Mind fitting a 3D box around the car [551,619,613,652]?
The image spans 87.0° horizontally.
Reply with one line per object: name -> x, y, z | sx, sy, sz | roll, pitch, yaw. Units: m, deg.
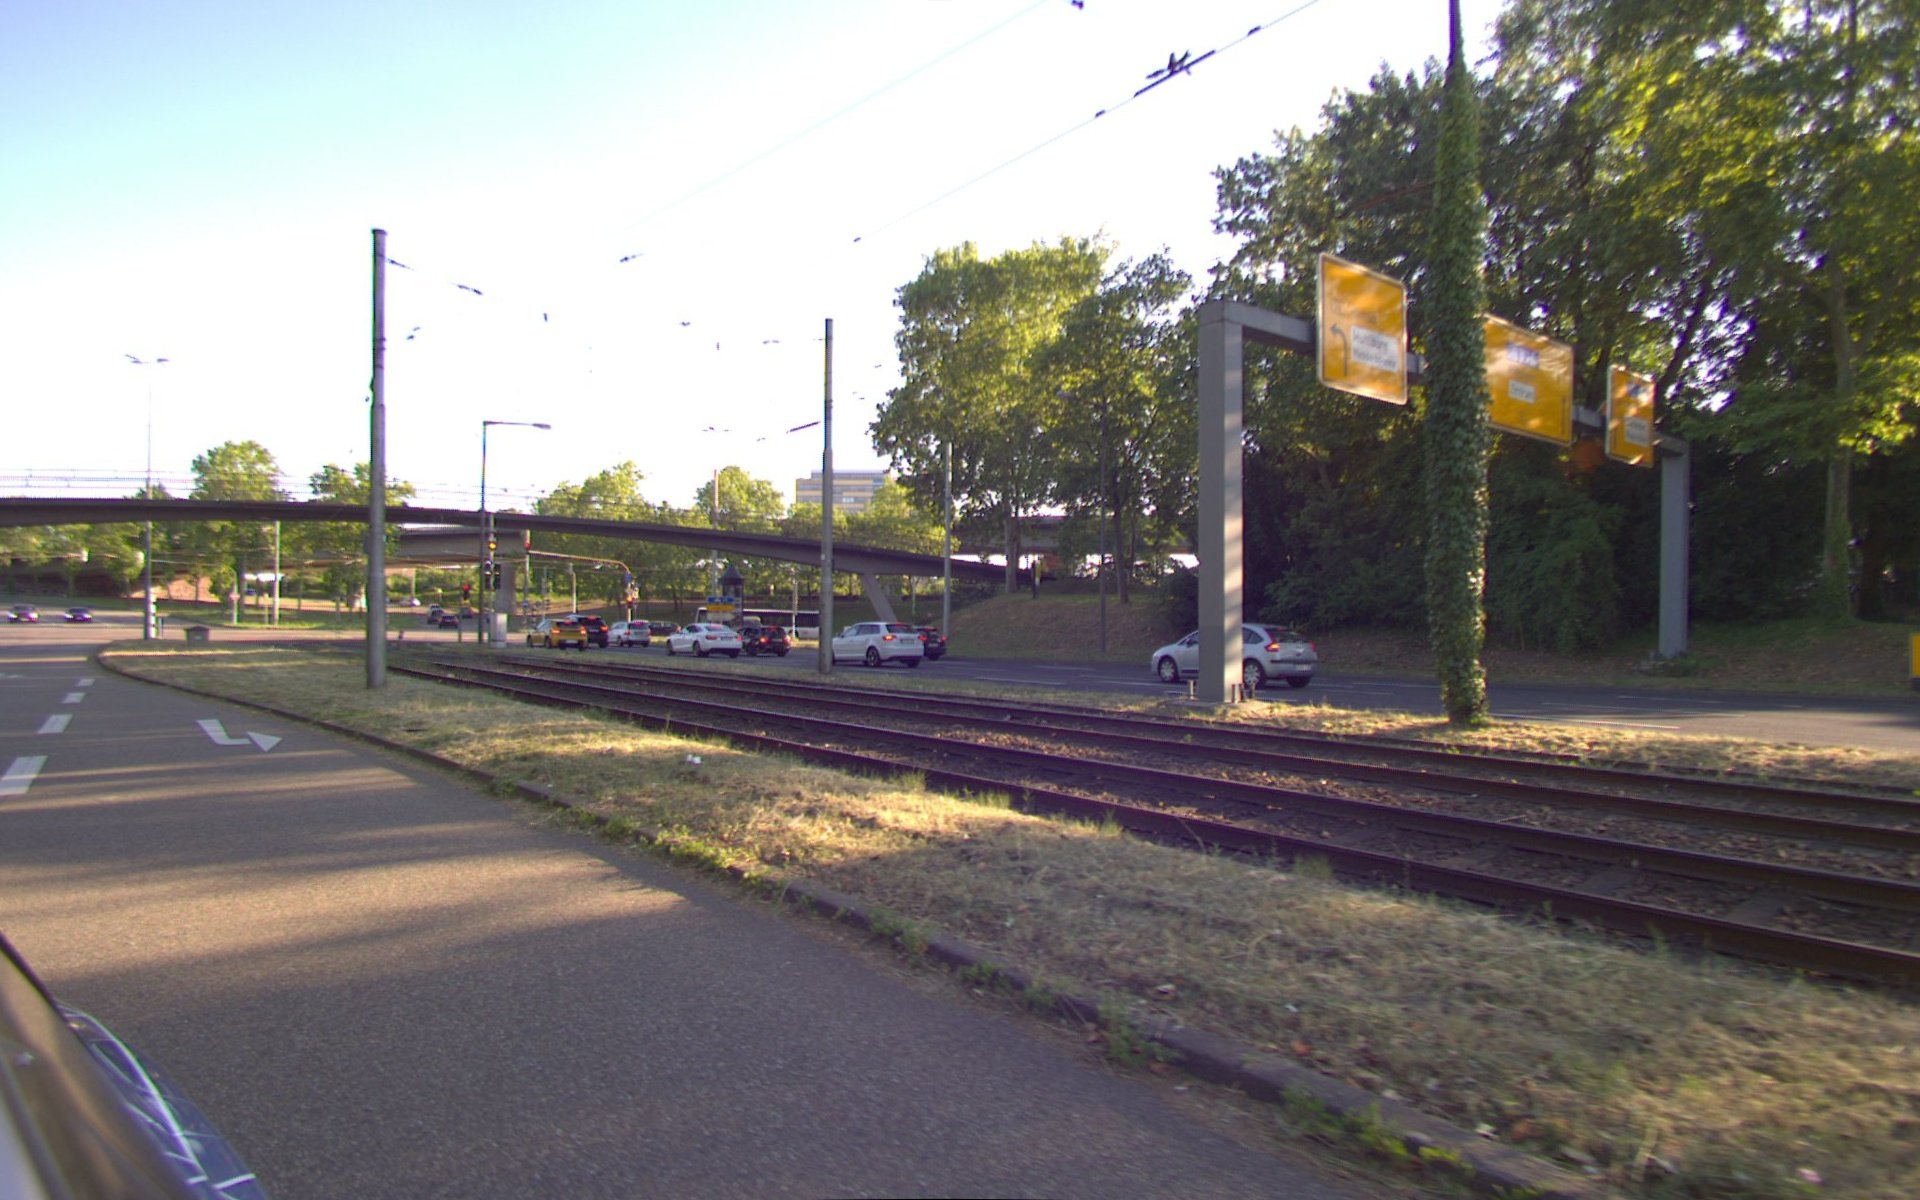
car -> -20.314, 1.893, 54.285 | 1.815, 1.667, 4.444 | 0, -1, -39

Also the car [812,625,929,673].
car -> -2.970, 1.539, 32.882 | 1.633, 1.426, 4.265 | 0, -1, -41

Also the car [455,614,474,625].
car -> -66.154, 2.589, 135.104 | 1.977, 1.454, 4.266 | 1, -1, -30

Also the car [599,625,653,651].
car -> -19.964, 2.266, 60.375 | 1.665, 1.426, 4.446 | 0, -1, -39

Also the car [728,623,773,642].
car -> -19.940, 3.087, 96.273 | 4.025, 1.665, 1.722 | 1, -1, -17

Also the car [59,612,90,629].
car -> -81.503, 1.887, 93.121 | 1.970, 1.497, 4.003 | 1, -2, -44

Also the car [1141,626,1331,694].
car -> 6.355, 1.333, 23.775 | 1.631, 1.426, 4.269 | 0, -1, -34

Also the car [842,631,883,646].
car -> -9.950, 3.893, 103.347 | 3.931, 1.453, 1.710 | 1, -1, -17

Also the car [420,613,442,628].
car -> -60.358, 2.302, 115.358 | 1.766, 1.663, 4.369 | 1, -1, -34

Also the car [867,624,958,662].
car -> -2.109, 1.819, 43.534 | 1.813, 1.493, 4.612 | 0, -1, -34

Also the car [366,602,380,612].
car -> -103.215, 1.211, 177.796 | 1.826, 1.621, 4.319 | 2, -1, -34

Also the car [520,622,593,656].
car -> -18.496, 1.746, 46.295 | 1.816, 1.426, 4.023 | 1, -1, -42

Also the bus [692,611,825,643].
bus -> -19.948, 2.678, 100.380 | 12.634, 2.977, 2.840 | 1, -1, -16

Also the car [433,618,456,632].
car -> -52.896, 2.540, 103.745 | 1.663, 1.320, 4.321 | 1, -1, -33

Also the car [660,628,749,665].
car -> -10.687, 1.882, 42.132 | 1.815, 1.426, 4.608 | 1, -2, -40

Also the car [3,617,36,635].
car -> -82.562, 2.270, 88.846 | 1.969, 1.497, 4.005 | 1, -2, -41

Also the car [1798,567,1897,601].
car -> 36.746, -0.668, 41.910 | 3.461, 1.342, 1.529 | -1, -1, -19

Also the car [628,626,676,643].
car -> -27.733, 3.107, 91.090 | 4.025, 1.364, 1.722 | 1, -1, -17

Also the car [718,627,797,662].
car -> -9.446, 2.035, 46.974 | 1.815, 1.493, 4.445 | 0, -1, -38

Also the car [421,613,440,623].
car -> -75.913, 2.559, 144.988 | 1.978, 1.454, 4.874 | 1, -1, -33
